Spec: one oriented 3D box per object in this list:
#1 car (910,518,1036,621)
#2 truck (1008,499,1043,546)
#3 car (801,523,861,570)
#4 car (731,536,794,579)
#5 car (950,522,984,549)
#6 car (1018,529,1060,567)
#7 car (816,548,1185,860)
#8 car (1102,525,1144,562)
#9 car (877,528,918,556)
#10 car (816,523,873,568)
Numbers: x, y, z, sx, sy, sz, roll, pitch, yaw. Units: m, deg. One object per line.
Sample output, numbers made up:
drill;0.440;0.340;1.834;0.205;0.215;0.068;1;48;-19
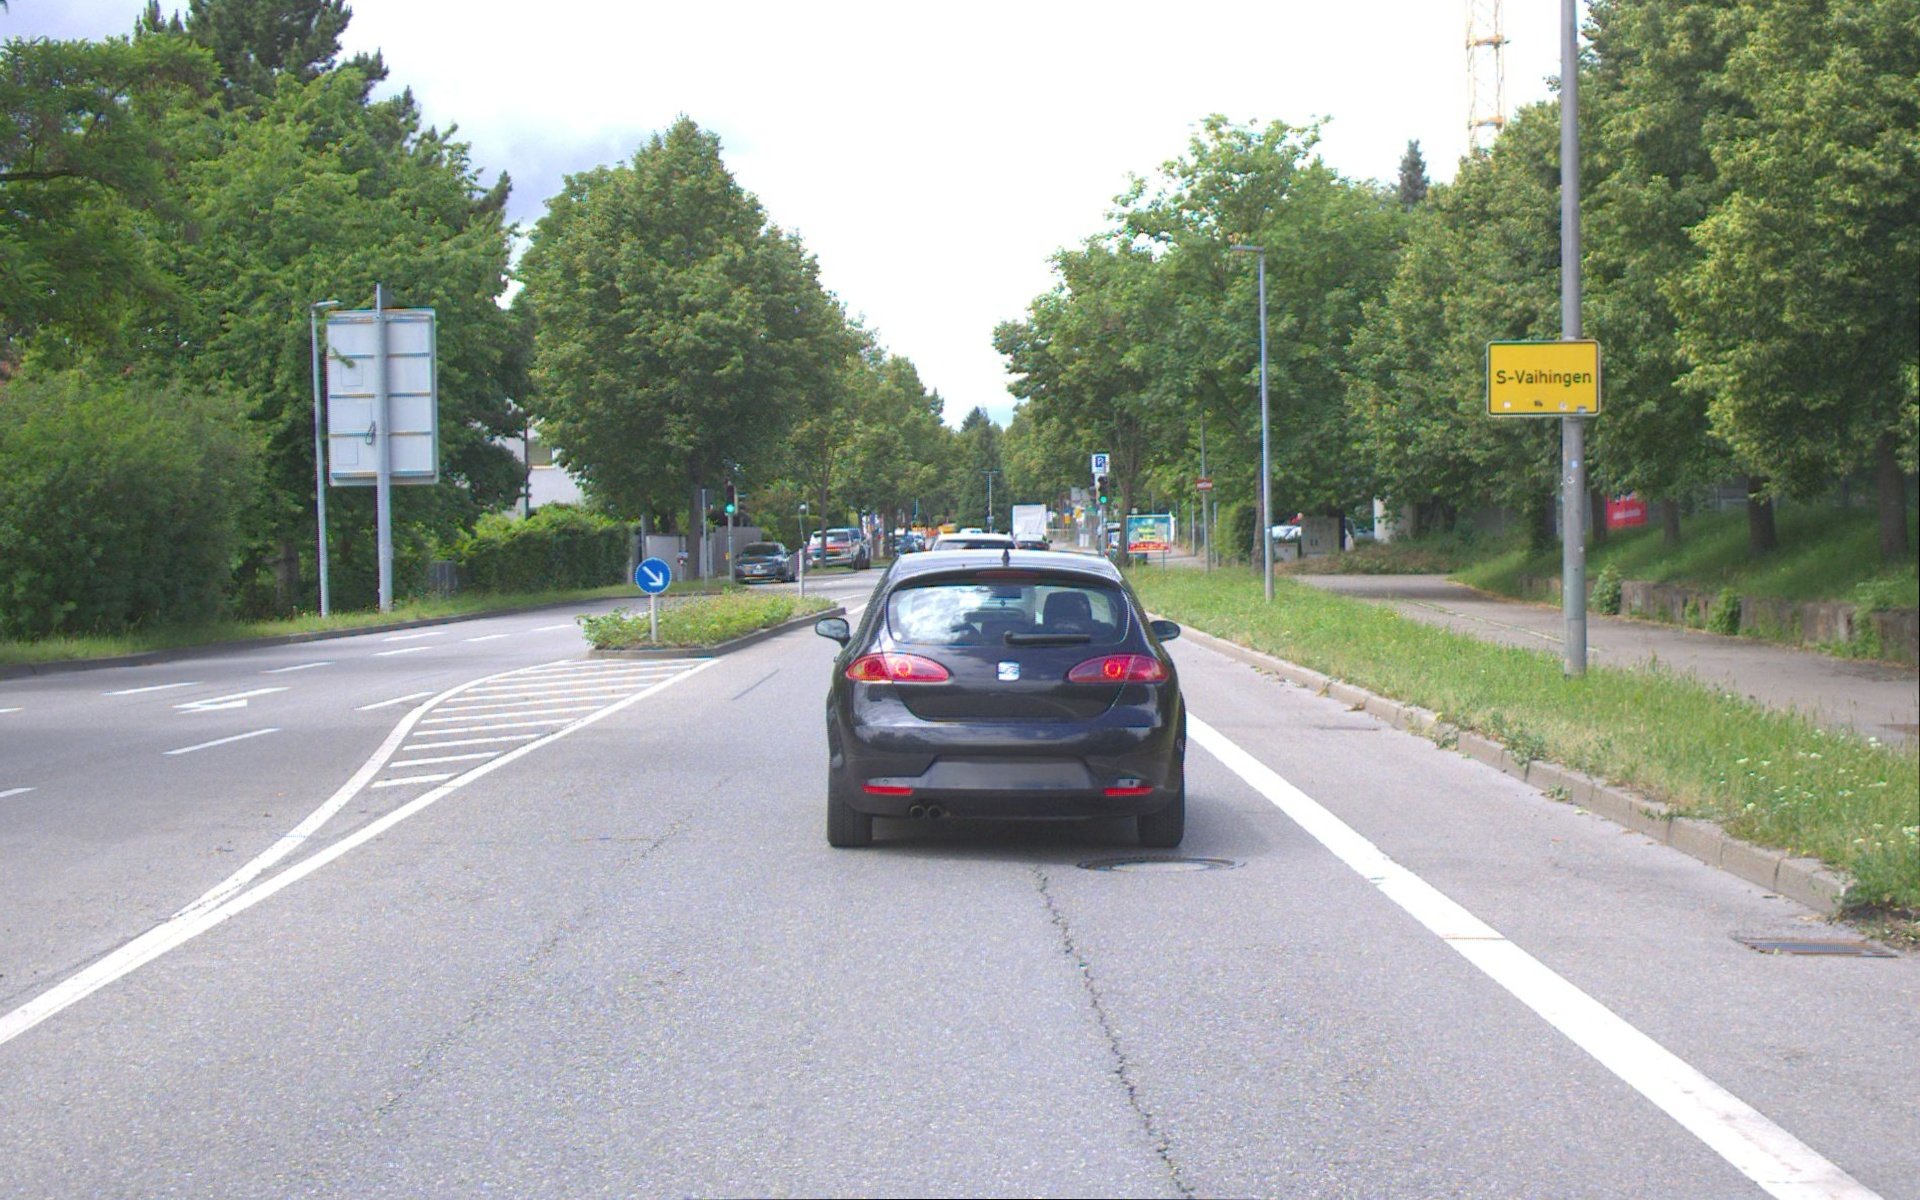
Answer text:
car;0.209;-0.475;52.686;1.846;1.504;3.812;1;1;0
truck;4.481;-5.260;234.283;2.279;3.093;8.511;1;1;1
car;-5.530;-2.306;148.369;2.100;1.890;5.784;-3;1;2
car;-6.814;-1.491;119.107;1.718;1.390;4.801;-3;1;2
car;0.450;-4.160;221.934;1.875;1.629;4.340;-3;1;4
car;3.637;-2.393;157.971;1.881;1.683;4.214;-1;1;2
car;0.197;0.443;17.507;1.663;1.396;3.812;1;1;0
car;6.743;-2.338;142.433;1.688;1.485;3.355;-1;1;2
car;-3.721;-3.477;205.578;2.100;1.501;5.784;-3;1;2
car;-5.210;-2.488;155.830;2.100;1.890;5.784;-3;1;2
